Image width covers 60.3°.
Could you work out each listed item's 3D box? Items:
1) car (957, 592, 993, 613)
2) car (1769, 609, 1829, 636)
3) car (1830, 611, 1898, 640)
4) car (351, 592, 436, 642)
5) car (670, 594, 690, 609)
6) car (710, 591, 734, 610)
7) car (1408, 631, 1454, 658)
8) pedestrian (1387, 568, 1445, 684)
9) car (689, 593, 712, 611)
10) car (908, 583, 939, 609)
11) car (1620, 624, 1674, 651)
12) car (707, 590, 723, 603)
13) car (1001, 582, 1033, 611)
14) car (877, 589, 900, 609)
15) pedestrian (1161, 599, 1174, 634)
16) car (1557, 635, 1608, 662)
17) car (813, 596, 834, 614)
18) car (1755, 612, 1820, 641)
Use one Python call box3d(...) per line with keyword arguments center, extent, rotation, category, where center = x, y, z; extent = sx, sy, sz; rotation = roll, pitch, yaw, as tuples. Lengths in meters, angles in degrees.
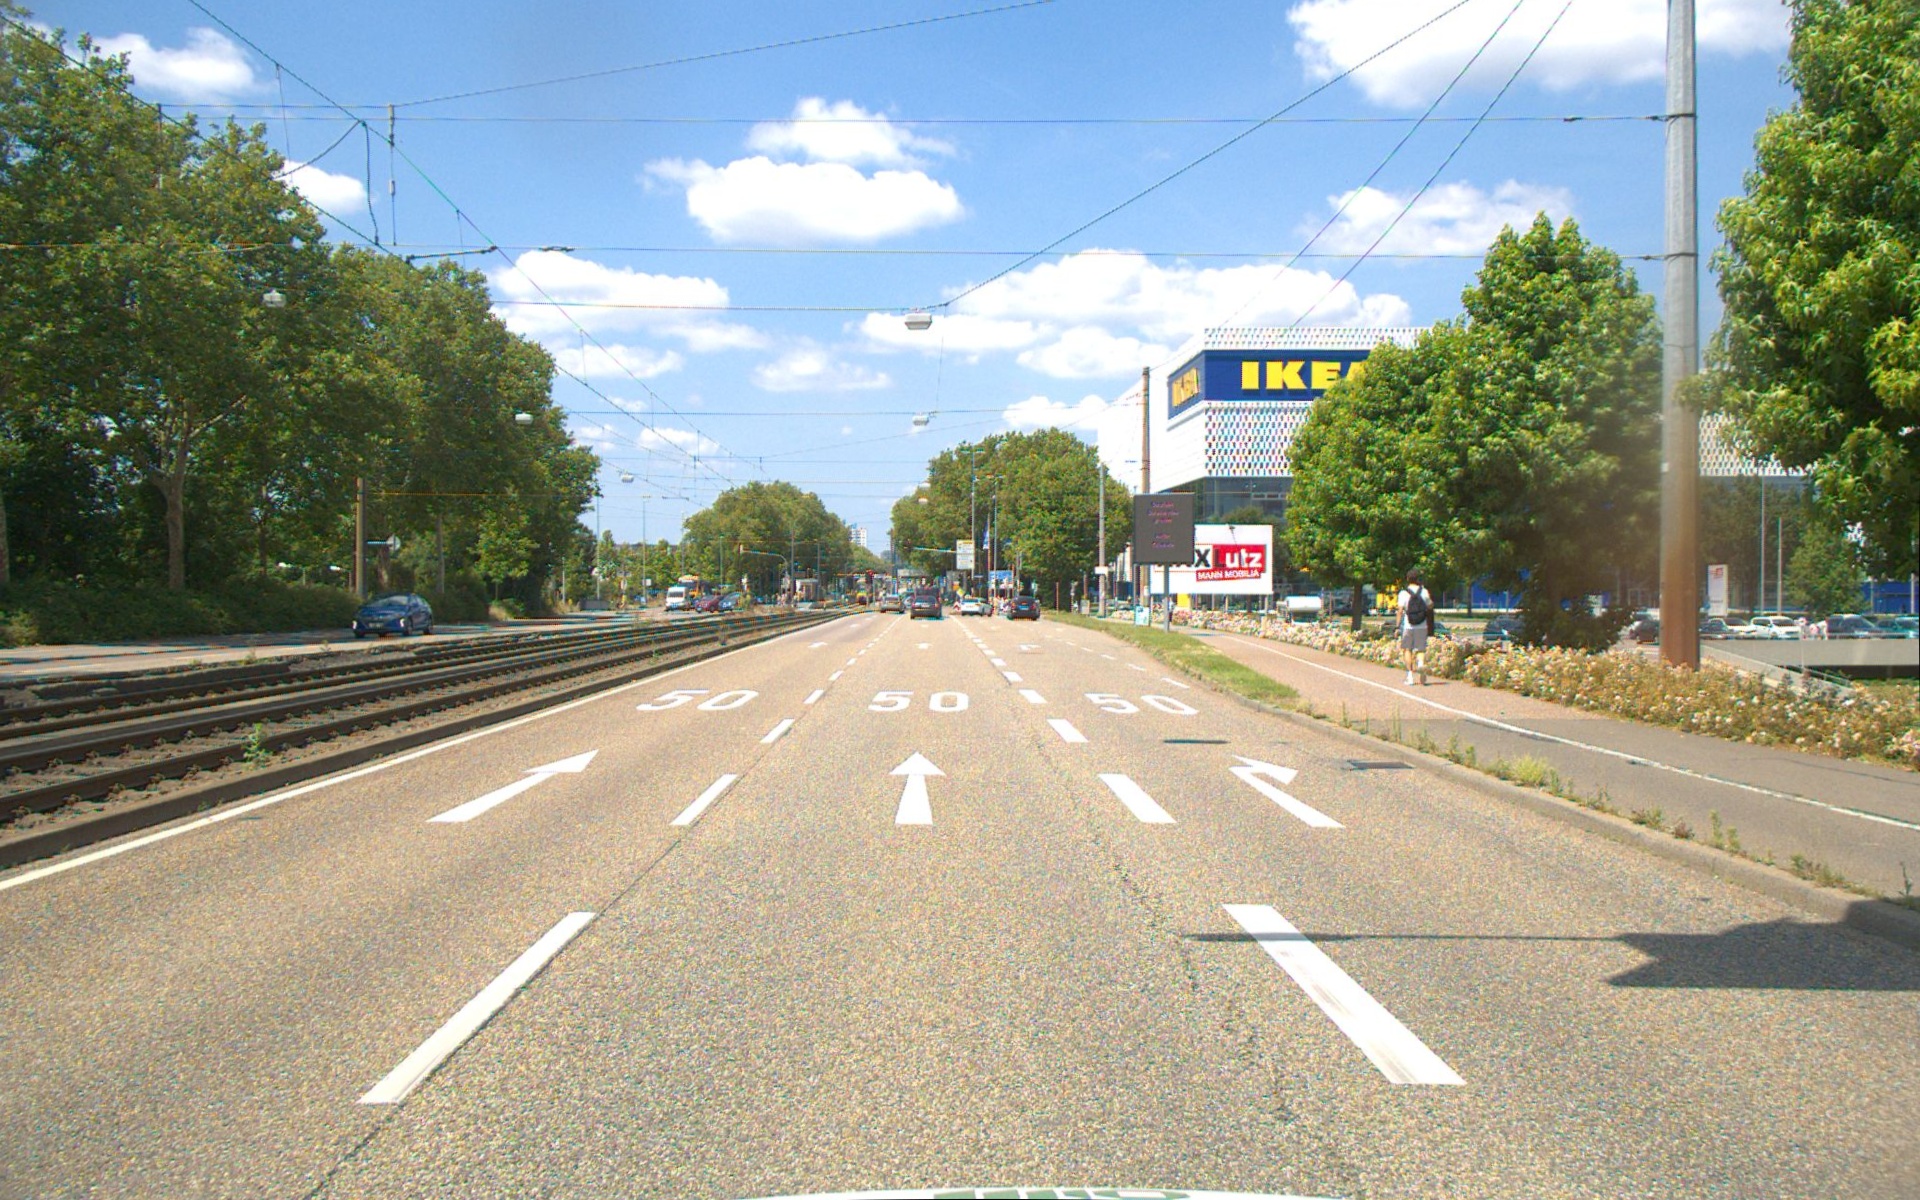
box3d(center=(1.236, 0.199, 133.536), extent=(1.650, 1.577, 3.984), rotation=(2, 0, 21), category="car")
box3d(center=(51.000, 1.374, 100.624), extent=(1.540, 1.508, 3.886), rotation=(1, 0, -3), category="car")
box3d(center=(50.328, 1.394, 92.152), extent=(1.540, 1.508, 3.886), rotation=(1, 0, -3), category="car")
box3d(center=(-19.028, 0.536, 55.743), extent=(1.612, 1.577, 4.214), rotation=(1, 0, -3), category="car")
box3d(center=(-30.108, 0.156, 177.621), extent=(1.590, 1.577, 3.702), rotation=(1, 0, -2), category="car")
box3d(center=(-21.037, 0.042, 146.274), extent=(1.590, 1.577, 3.983), rotation=(1, 0, -2), category="car")
box3d(center=(29.164, 2.724, 102.428), extent=(1.540, 1.508, 3.886), rotation=(1, 0, -3), category="car")
box3d(center=(7.347, 0.411, 26.669), extent=(0.655, 1.823, 0.925), rotation=(1, 0, 1), category="pedestrian")
box3d(center=(-24.036, 0.147, 153.526), extent=(1.590, 1.577, 3.983), rotation=(1, 0, -2), category="car")
box3d(center=(-2.272, -0.274, 102.358), extent=(1.838, 1.566, 3.775), rotation=(1, 0, -2), category="car")
box3d(center=(42.614, 2.324, 102.610), extent=(1.540, 1.508, 3.886), rotation=(1, 0, -3), category="car")
box3d(center=(-30.409, -0.436, 205.233), extent=(1.590, 1.577, 3.702), rotation=(1, 0, -2), category="car")
box3d(center=(3.746, -0.223, 109.637), extent=(1.861, 1.837, 3.976), rotation=(1, 0, -1), category="car")
box3d(center=(-5.824, -0.078, 135.300), extent=(1.806, 1.577, 3.775), rotation=(1, 0, -3), category="car")
box3d(center=(10.827, 0.845, 86.263), extent=(0.568, 1.823, 0.589), rotation=(1, 0, -4), category="pedestrian")
box3d(center=(38.649, 3.005, 102.723), extent=(1.540, 1.508, 3.886), rotation=(1, 0, -3), category="car")
box3d(center=(-12.543, 0.411, 152.366), extent=(1.806, 1.577, 3.775), rotation=(1, 0, -3), category="car")
box3d(center=(46.026, 1.446, 92.074), extent=(1.540, 1.508, 3.886), rotation=(1, 0, -3), category="car")
